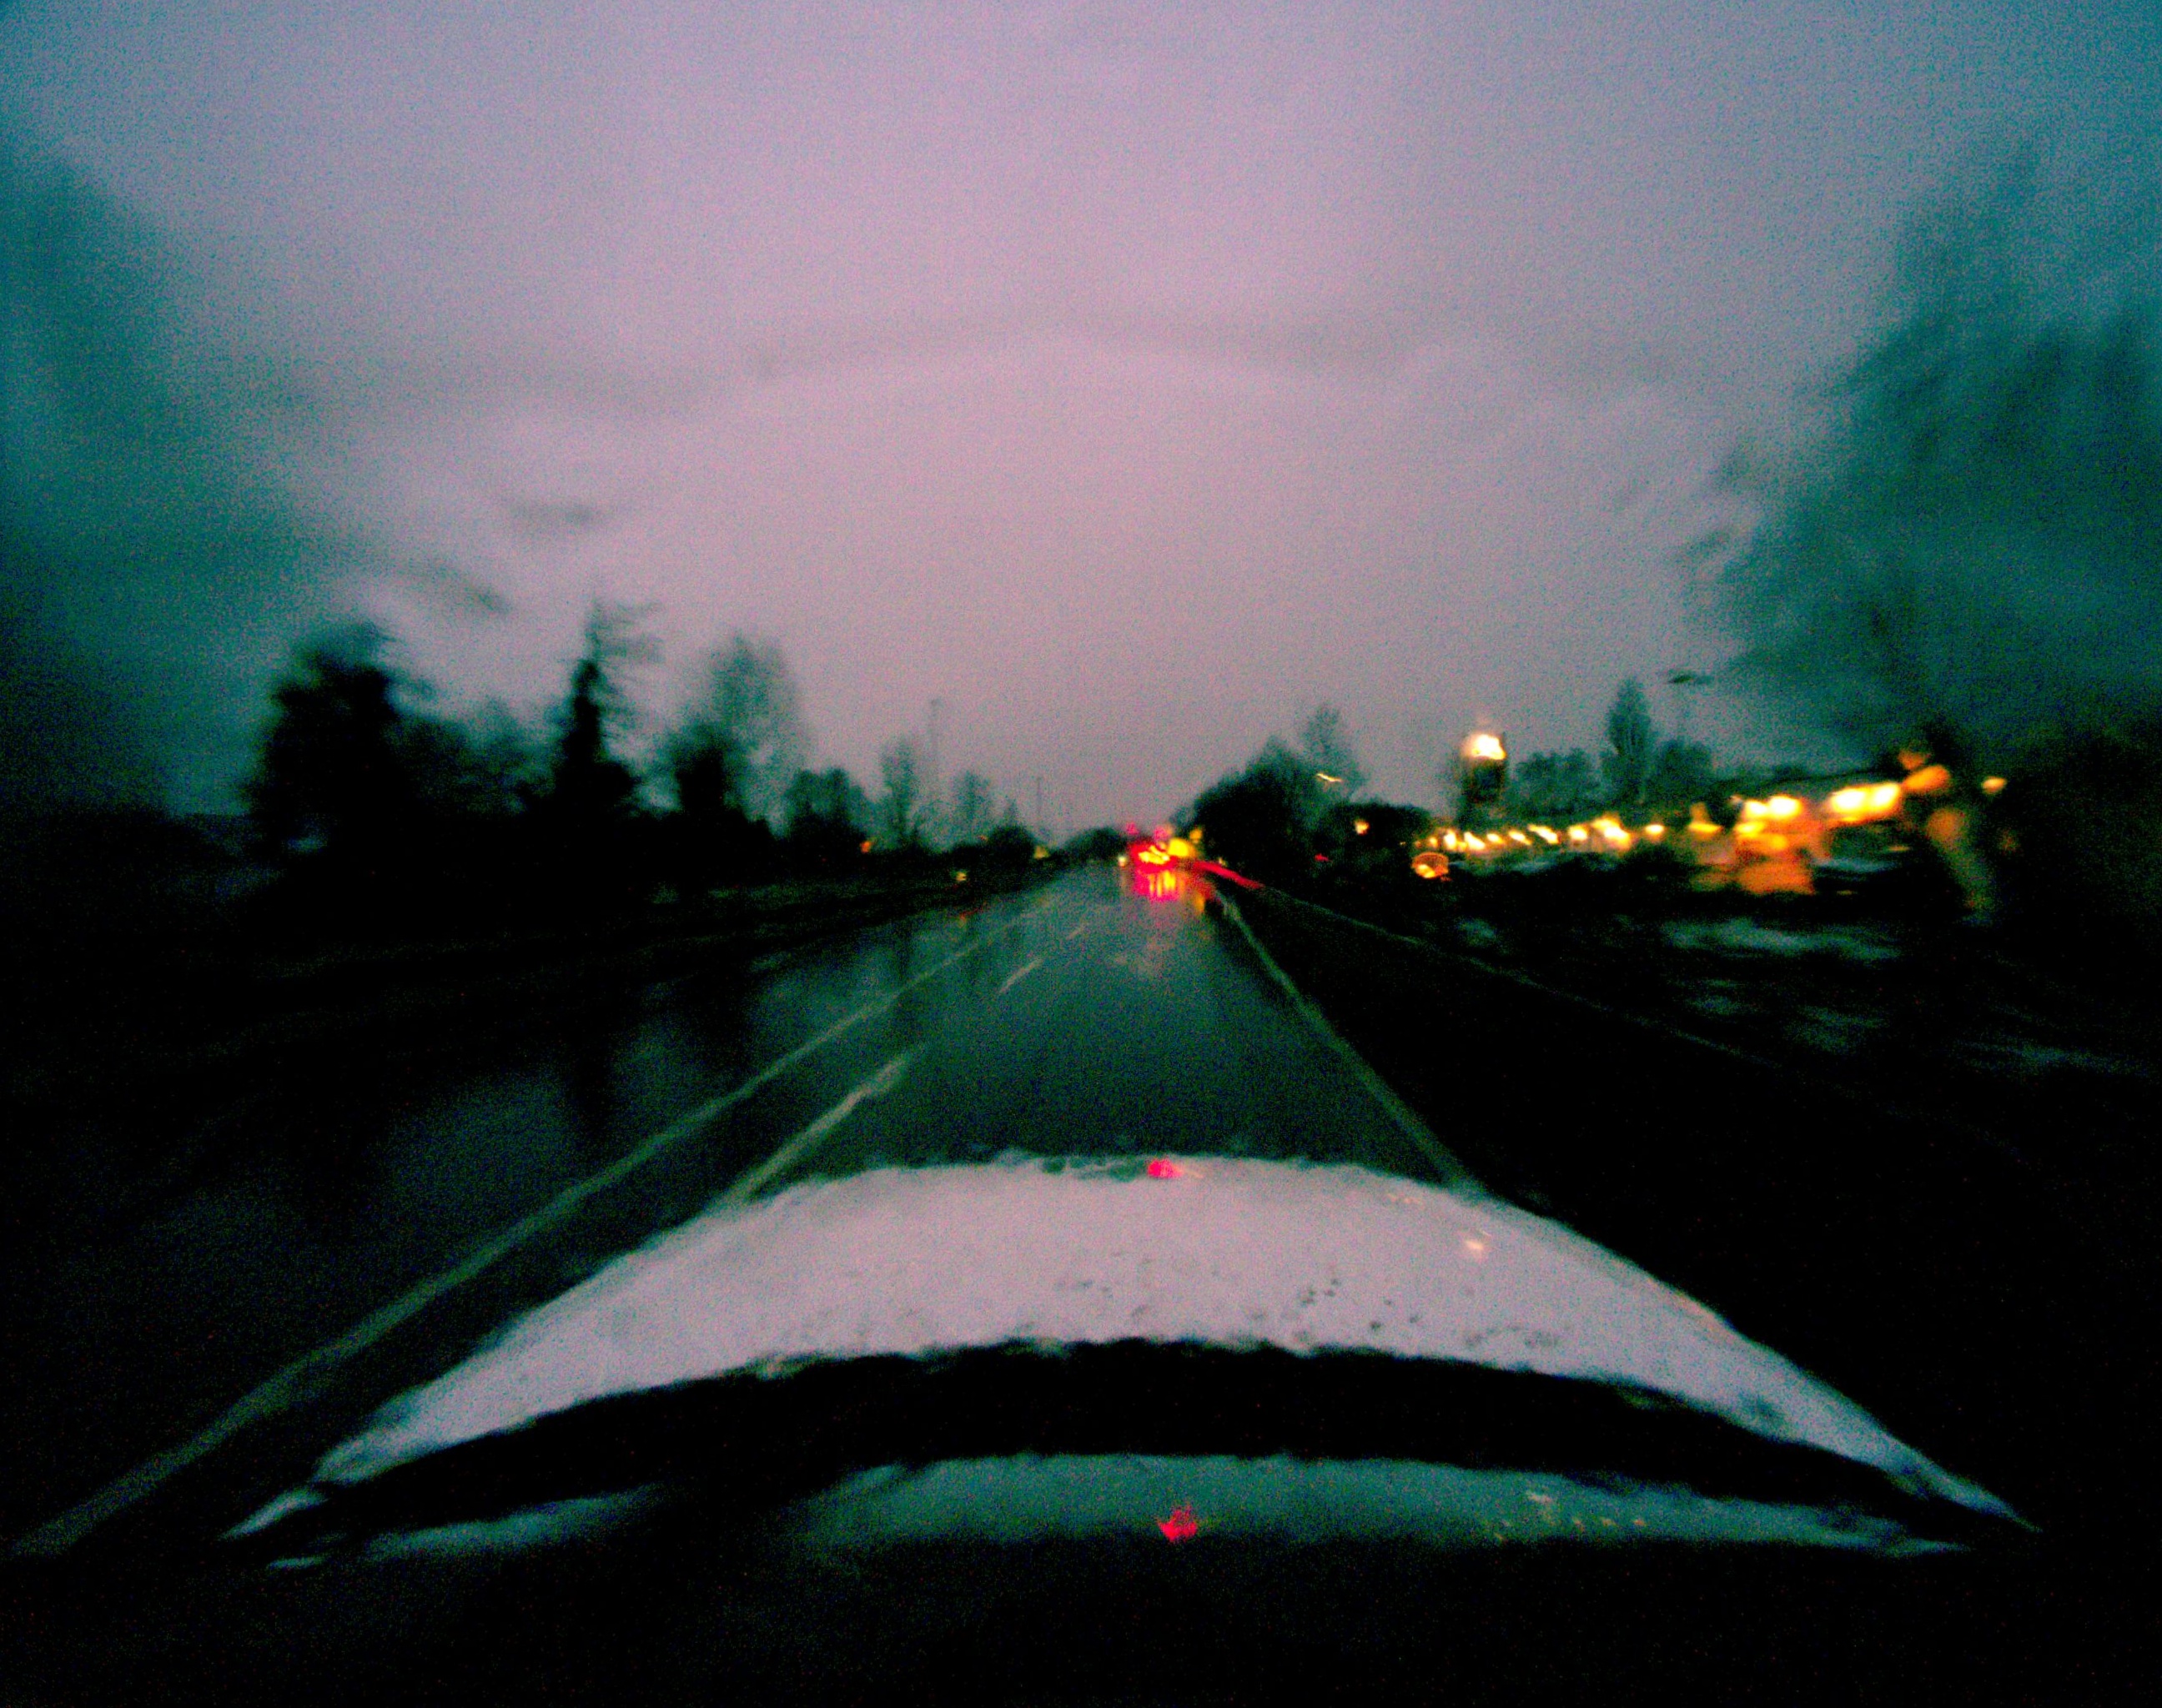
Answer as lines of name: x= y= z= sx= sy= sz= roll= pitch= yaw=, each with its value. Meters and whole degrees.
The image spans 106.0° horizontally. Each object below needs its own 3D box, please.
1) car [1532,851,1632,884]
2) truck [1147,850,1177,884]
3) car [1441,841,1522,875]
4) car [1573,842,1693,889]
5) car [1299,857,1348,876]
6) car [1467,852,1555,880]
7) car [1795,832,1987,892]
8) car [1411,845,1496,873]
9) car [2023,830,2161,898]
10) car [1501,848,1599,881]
car: x=24.544 y=0.666 z=39.984 sx=3.865 sy=1.477 sz=1.992 roll=-1 pitch=0 yaw=-11
truck: x=7.359 y=1.188 z=74.106 sx=2.520 sy=2.869 sz=5.930 roll=-2 pitch=-1 yaw=5
car: x=23.821 y=0.241 z=48.494 sx=4.126 sy=1.835 sz=1.657 roll=-1 pitch=-2 yaw=-9
car: x=24.719 y=0.482 z=36.535 sx=4.250 sy=1.854 sz=1.992 roll=-3 pitch=0 yaw=-12
car: x=20.085 y=1.040 z=67.549 sx=3.529 sy=1.424 sz=1.660 roll=-2 pitch=-2 yaw=-4
car: x=23.965 y=0.662 z=45.473 sx=4.122 sy=1.422 sz=1.659 roll=-2 pitch=-1 yaw=-7
car: x=25.790 y=0.237 z=26.019 sx=4.385 sy=1.715 sz=1.996 roll=-2 pitch=0 yaw=-5
car: x=23.388 y=0.340 z=51.223 sx=4.721 sy=1.489 sz=1.656 roll=-3 pitch=-2 yaw=-11
car: x=26.700 y=0.200 z=20.498 sx=4.175 sy=1.517 sz=1.995 roll=-1 pitch=1 yaw=-8
car: x=24.625 y=0.523 z=42.813 sx=4.249 sy=1.630 sz=1.992 roll=-1 pitch=0 yaw=-12
